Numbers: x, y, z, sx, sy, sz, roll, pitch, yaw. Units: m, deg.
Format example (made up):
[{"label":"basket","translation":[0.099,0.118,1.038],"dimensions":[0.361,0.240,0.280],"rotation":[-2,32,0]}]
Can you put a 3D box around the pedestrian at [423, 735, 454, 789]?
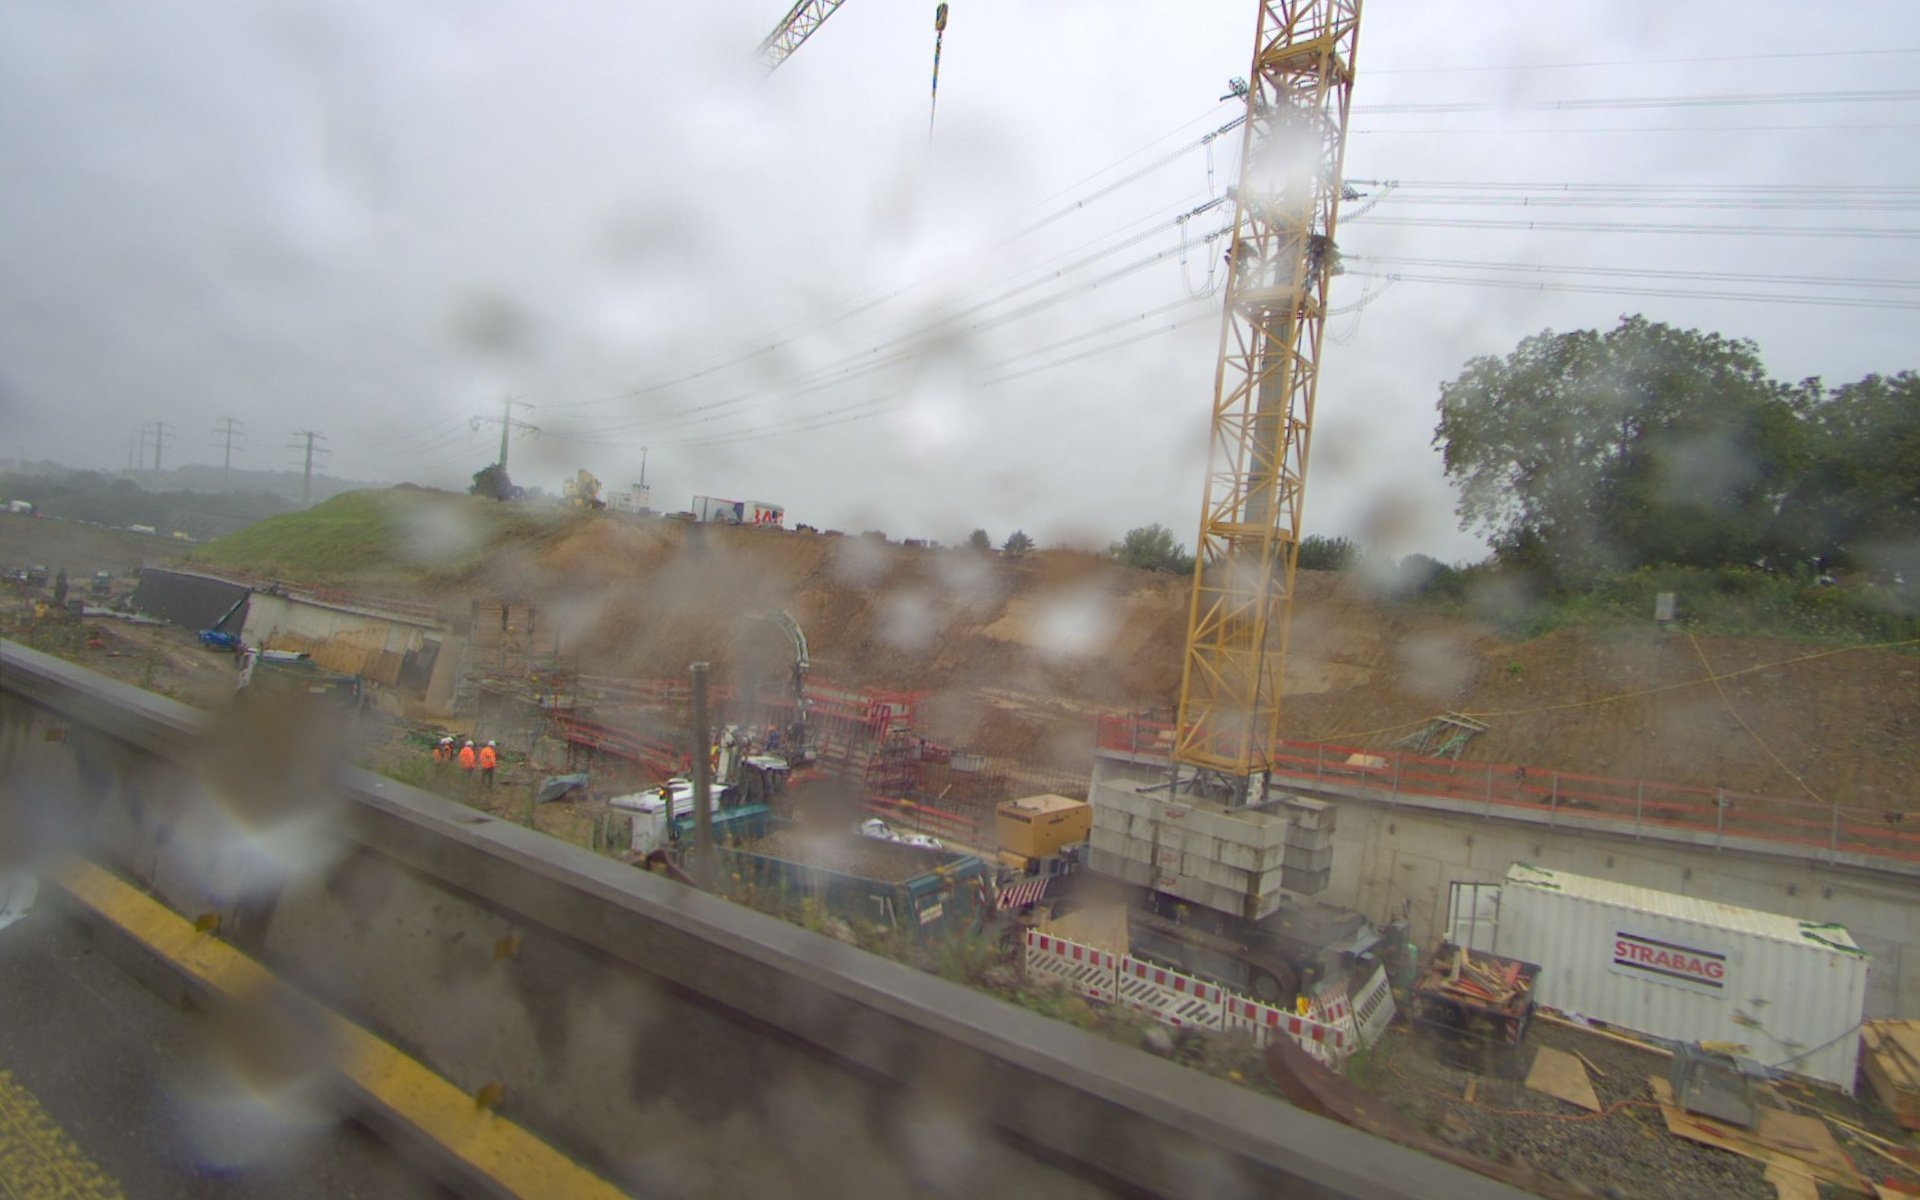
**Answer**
[{"label":"pedestrian","translation":[-19.489,6.061,37.609],"dimensions":[0.725,1.891,0.573],"rotation":[6,-1,40]}]

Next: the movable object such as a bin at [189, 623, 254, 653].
[{"label":"movable object such as a bin","translation":[-63.103,3.273,86.014],"dimensions":[3.771,2.035,2.003],"rotation":[6,-4,-3]}]

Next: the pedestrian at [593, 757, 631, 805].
[{"label":"pedestrian","translation":[-16.647,8.657,48.145],"dimensions":[0.892,2.012,0.901],"rotation":[5,-12,37]}]

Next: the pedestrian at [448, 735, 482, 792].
[{"label":"pedestrian","translation":[-18.503,6.092,37.588],"dimensions":[0.721,1.967,0.576],"rotation":[7,-1,5]}]

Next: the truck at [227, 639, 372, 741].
[{"label":"truck","translation":[-31.272,4.153,47.435],"dimensions":[8.931,3.530,2.730],"rotation":[6,-2,38]}]

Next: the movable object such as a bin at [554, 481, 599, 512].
[{"label":"movable object such as a bin","translation":[-38.440,-10.404,100.907],"dimensions":[3.912,2.472,2.428],"rotation":[8,-1,41]}]

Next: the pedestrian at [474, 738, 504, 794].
[{"label":"pedestrian","translation":[-17.672,6.209,37.729],"dimensions":[0.725,1.967,0.573],"rotation":[7,-1,-19]}]

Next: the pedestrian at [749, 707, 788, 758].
[{"label":"pedestrian","translation":[-8.530,5.898,44.897],"dimensions":[0.885,2.012,0.907],"rotation":[5,-12,38]}]

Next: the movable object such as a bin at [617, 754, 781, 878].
[{"label":"movable object such as a bin","translation":[-7.467,6.070,28.917],"dimensions":[2.921,2.769,3.155],"rotation":[6,-2,33]}]

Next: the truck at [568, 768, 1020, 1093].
[{"label":"truck","translation":[-3.497,5.854,19.564],"dimensions":[8.802,3.543,2.704],"rotation":[6,-2,33]}]

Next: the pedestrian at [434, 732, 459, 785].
[{"label":"pedestrian","translation":[-19.674,6.081,38.553],"dimensions":[0.567,1.891,0.732],"rotation":[7,-1,-20]}]

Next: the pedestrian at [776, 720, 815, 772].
[{"label":"pedestrian","translation":[-7.149,6.344,43.756],"dimensions":[0.885,2.012,0.907],"rotation":[5,-12,38]}]
